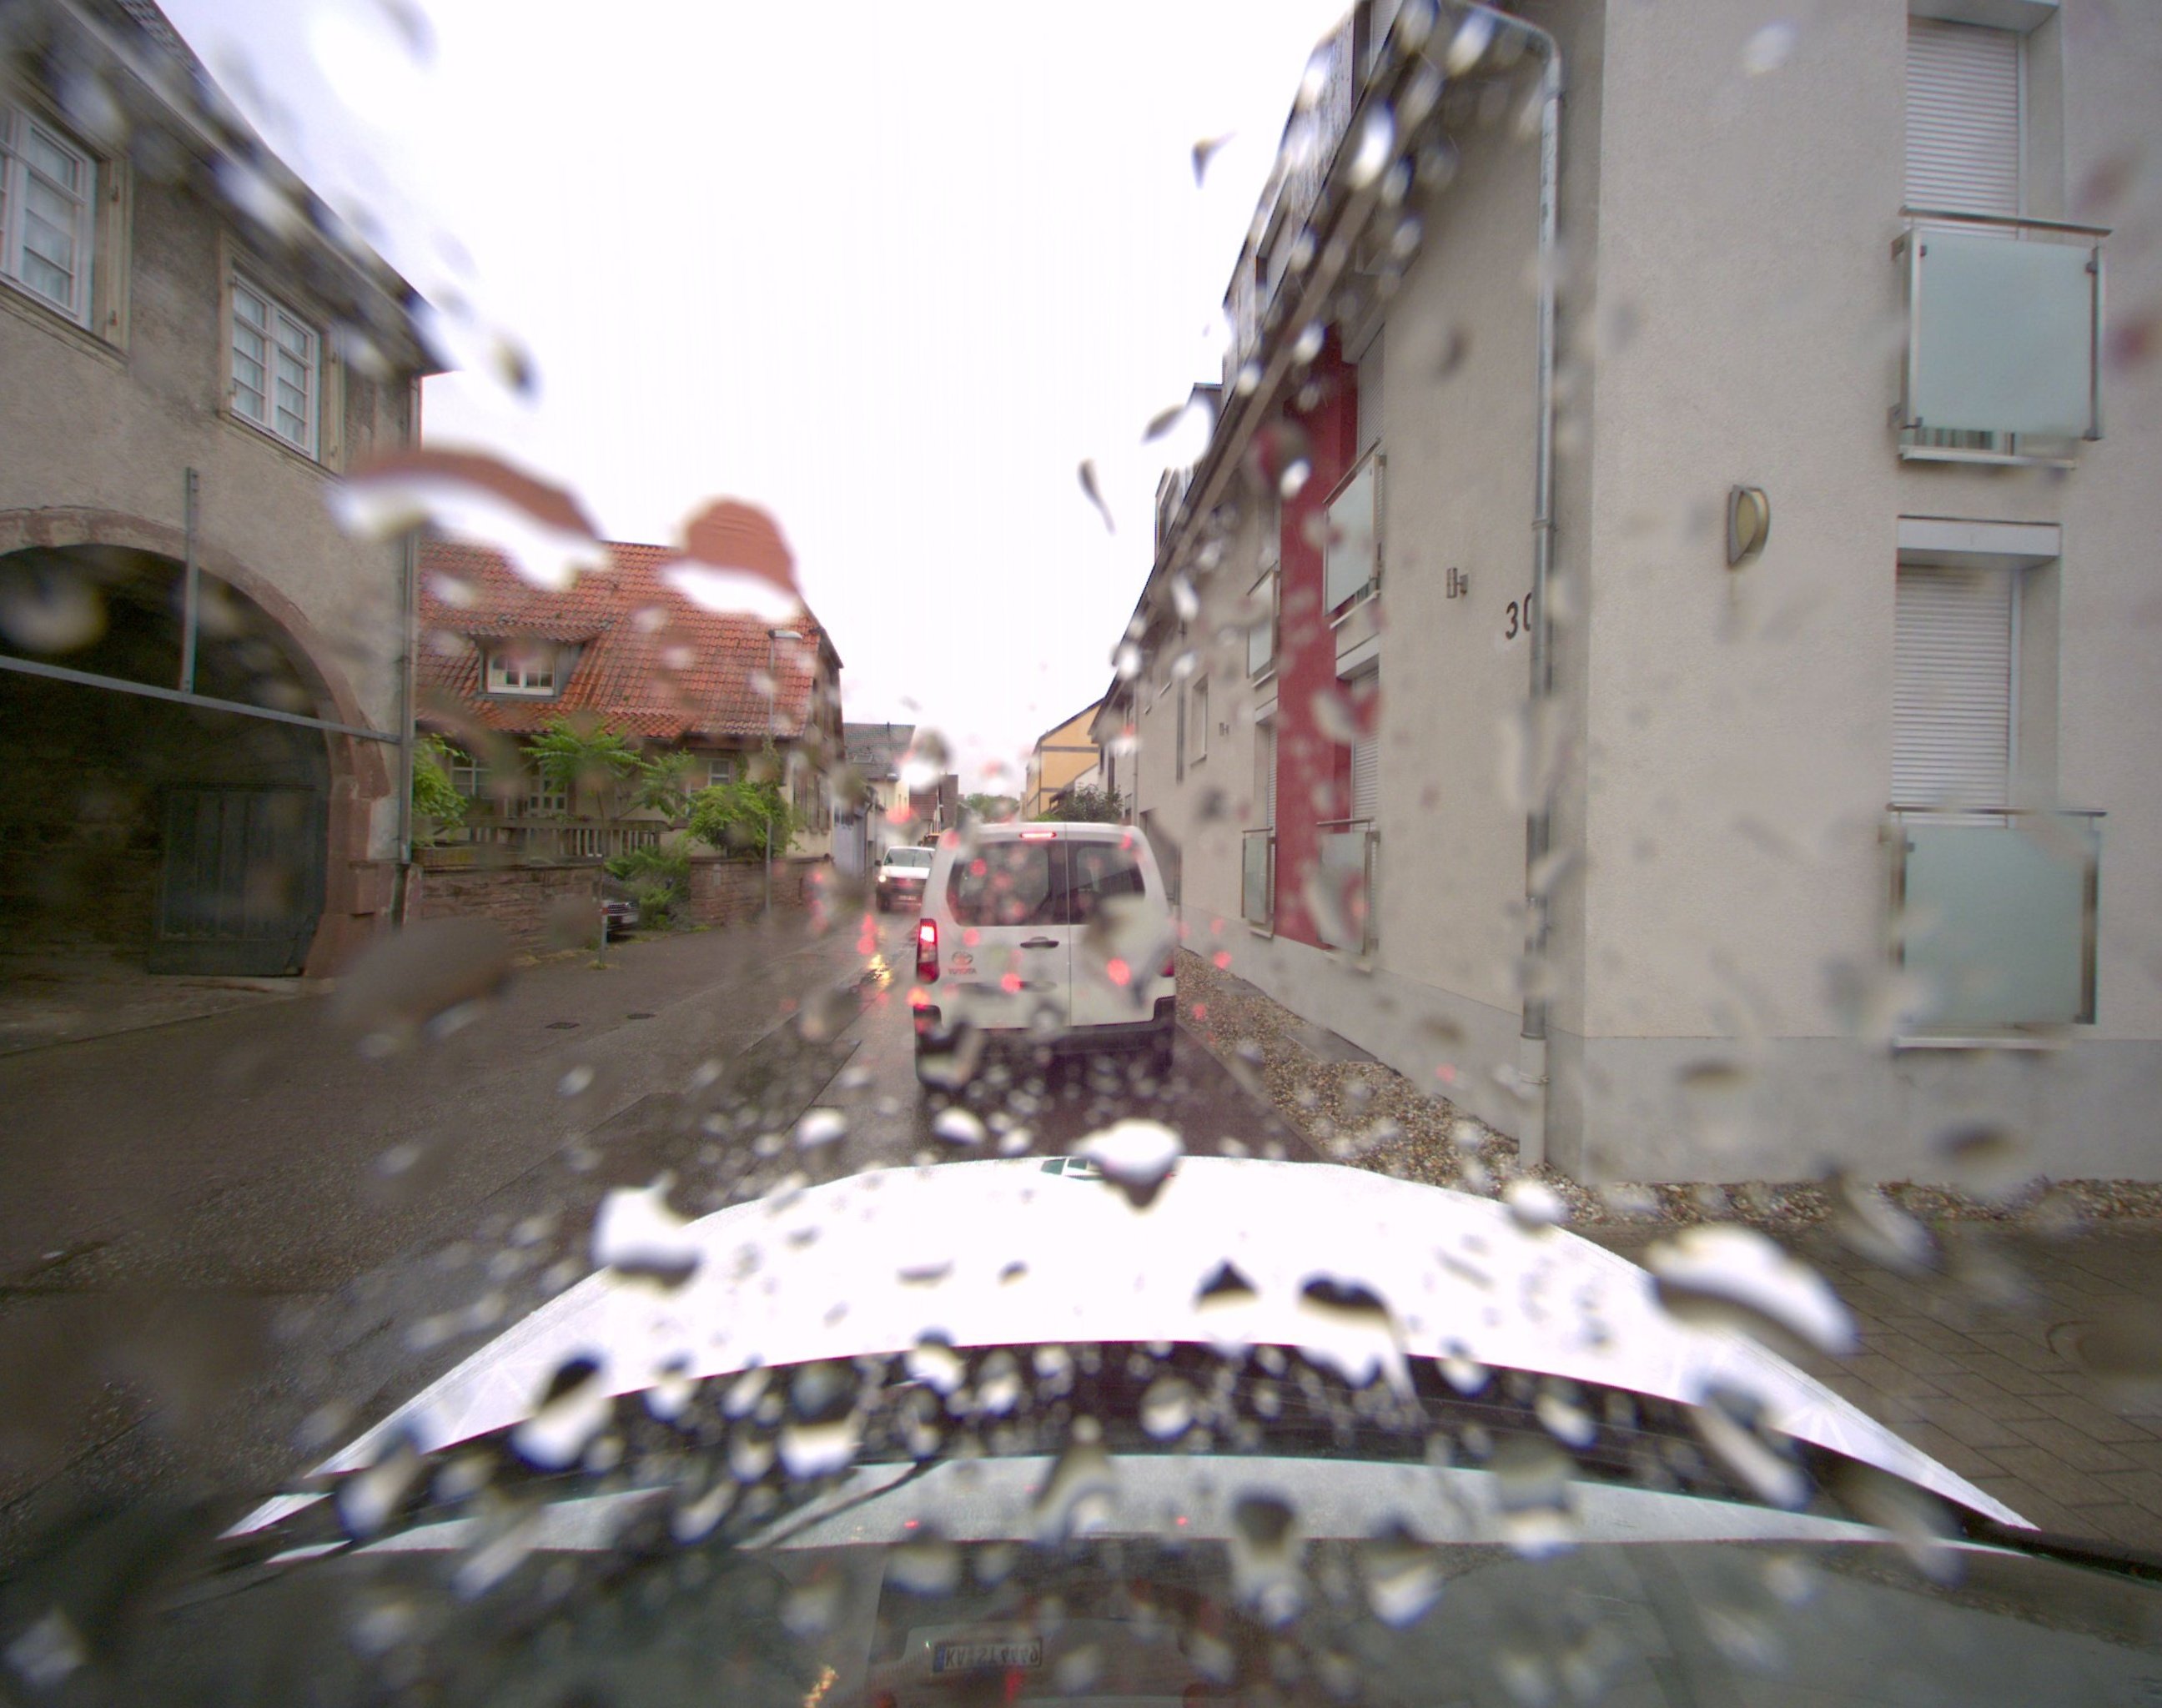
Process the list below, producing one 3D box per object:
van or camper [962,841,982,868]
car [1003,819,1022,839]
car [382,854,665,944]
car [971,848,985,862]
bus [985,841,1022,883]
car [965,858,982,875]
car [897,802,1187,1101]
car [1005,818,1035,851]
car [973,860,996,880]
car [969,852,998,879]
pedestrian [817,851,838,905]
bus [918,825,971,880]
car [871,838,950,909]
[{"bbox_3d":[-12.376,0.123,92.990,1.832,2.926,5.354,2,-1,-4],"label":"van or camper"},{"bbox_3d":[-7.855,-2.854,93.567,1.990,2.014,3.993,2,-1,-5],"label":"car"},{"bbox_3d":[-9.172,0.717,13.636,3.520,1.376,1.592,1,0,-4],"label":"car"},{"bbox_3d":[-13.835,0.142,109.366,1.576,1.724,3.545,2,-1,-4],"label":"car"},{"bbox_3d":[-6.616,0.688,69.109,2.790,3.180,8.160,3,-1,-6],"label":"bus"},{"bbox_3d":[-11.534,1.318,87.510,1.576,1.724,3.545,2,-1,-4],"label":"car"},{"bbox_3d":[-0.438,0.615,7.116,1.793,1.819,4.092,-1,-1,-6],"label":"car"},{"bbox_3d":[-4.147,-1.280,54.594,1.825,2.014,3.686,2,-1,-6],"label":"car"},{"bbox_3d":[-7.041,1.172,59.726,1.559,1.372,3.578,2,-1,-5],"label":"car"},{"bbox_3d":[-5.800,0.706,48.588,1.559,1.480,3.578,2,-1,-5],"label":"car"},{"bbox_3d":[-7.285,0.669,23.418,0.568,1.530,0.566,0,-1,-15],"label":"pedestrian"},{"bbox_3d":[-9.054,-0.024,54.852,2.790,3.329,8.160,3,-1,-6],"label":"bus"},{"bbox_3d":[-5.255,0.596,25.668,1.890,1.967,4.713,2,-1,-6],"label":"car"}]
